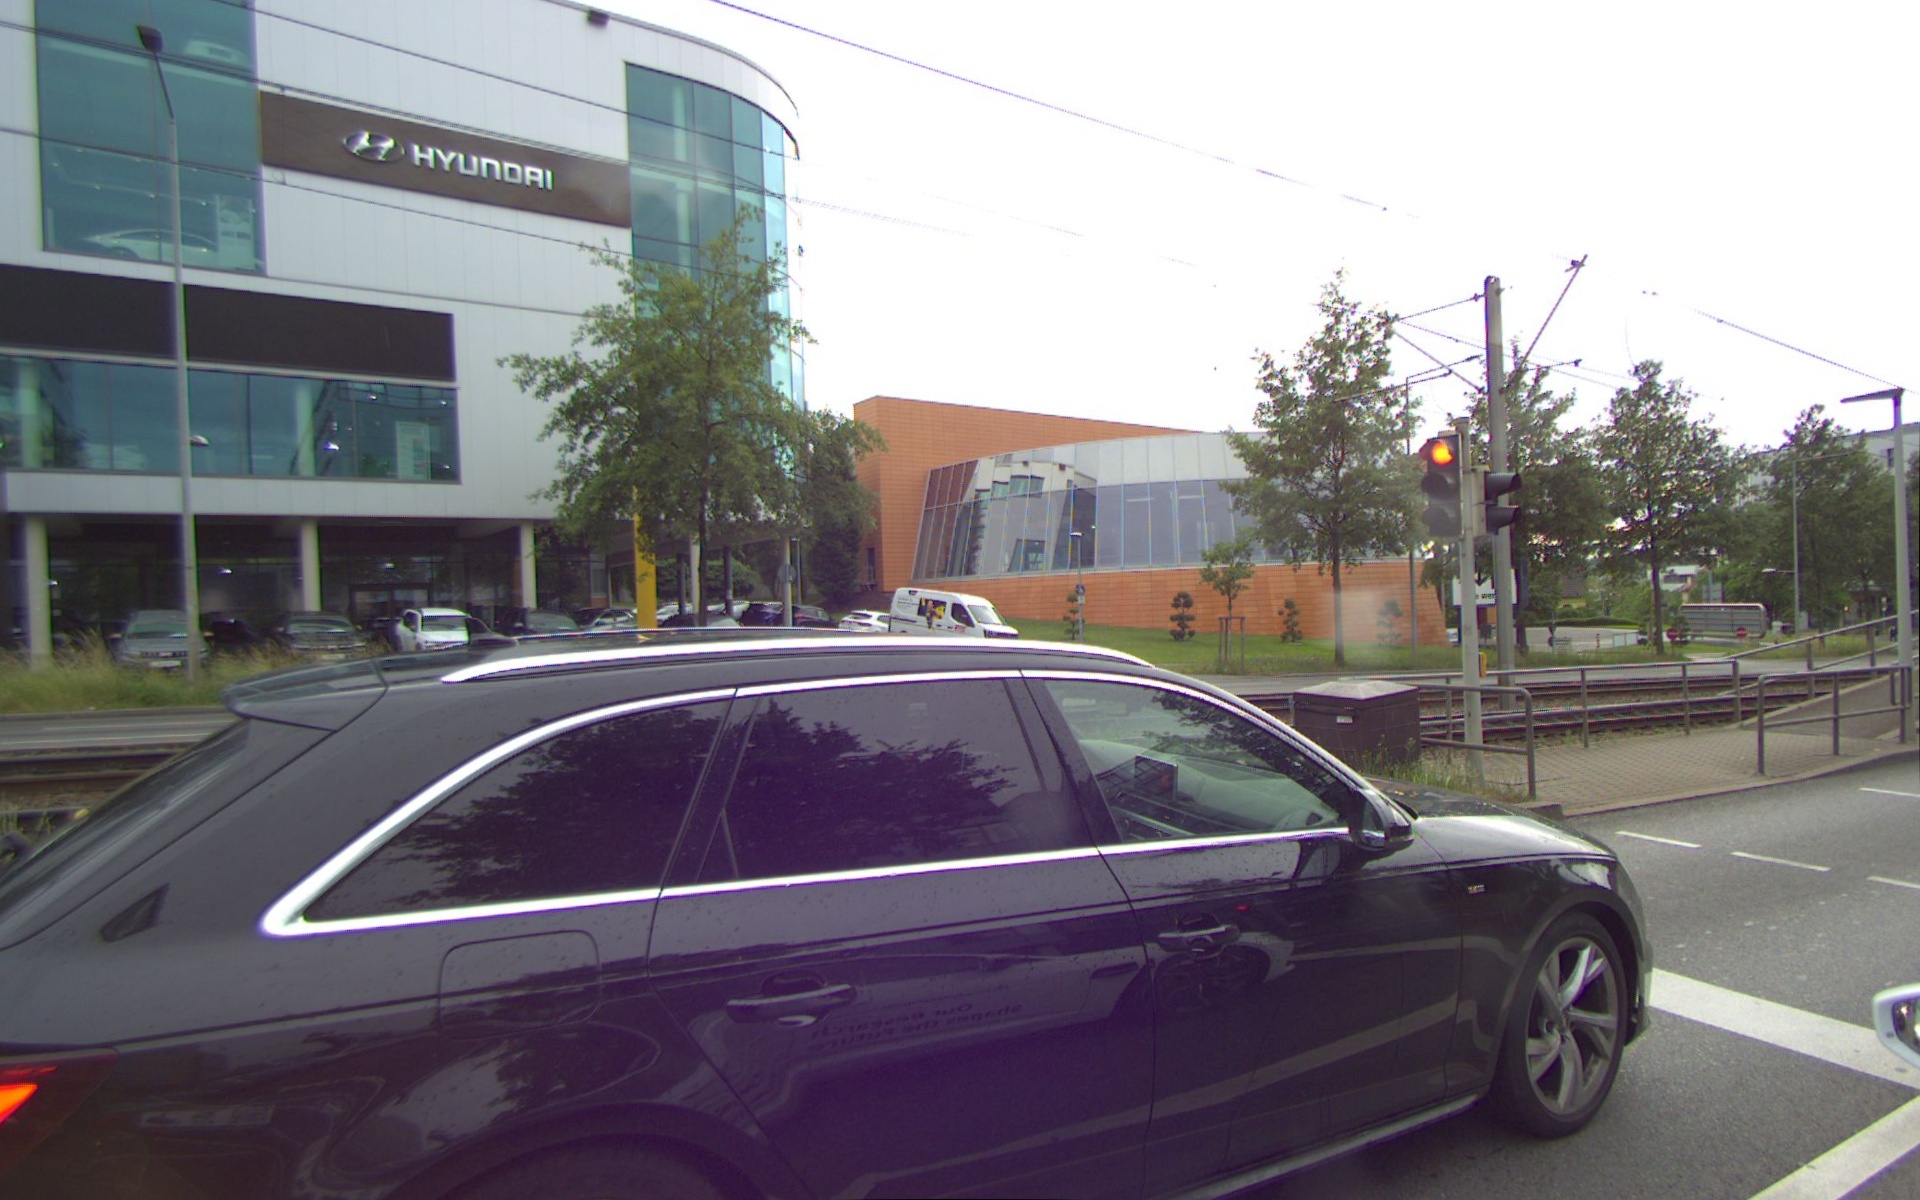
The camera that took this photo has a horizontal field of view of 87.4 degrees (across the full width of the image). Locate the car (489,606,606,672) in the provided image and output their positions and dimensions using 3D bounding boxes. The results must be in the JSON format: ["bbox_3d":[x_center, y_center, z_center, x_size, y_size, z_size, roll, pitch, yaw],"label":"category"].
[{"bbox_3d":[-12.346,1.099,29.903,1.984,1.637,4.324,1,1,-40],"label":"car"}]

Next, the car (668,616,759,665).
[{"bbox_3d":[-7.842,1.237,31.767,1.565,1.409,3.619,0,-1,-36],"label":"car"}]

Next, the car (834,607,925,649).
[{"bbox_3d":[-3.337,1.161,42.169,1.703,1.688,3.734,1,-1,38],"label":"car"}]

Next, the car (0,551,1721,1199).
[{"bbox_3d":[0.095,0.722,2.867,4.461,1.486,1.772,1,-1,-31],"label":"car"}]

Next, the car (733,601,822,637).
[{"bbox_3d":[-8.865,0.909,49.088,1.969,1.653,3.982,0,-1,39],"label":"car"}]

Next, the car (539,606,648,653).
[{"bbox_3d":[-12.830,1.012,35.350,1.691,1.572,3.587,0,-1,20],"label":"car"}]

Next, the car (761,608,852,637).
[{"bbox_3d":[-7.214,1.063,47.523,1.969,1.297,3.982,0,-1,39],"label":"car"}]

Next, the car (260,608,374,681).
[{"bbox_3d":[-16.956,1.106,26.401,1.984,1.571,4.324,1,1,-40],"label":"car"}]

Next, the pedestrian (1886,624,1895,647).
[{"bbox_3d":[79.559,2.997,85.862,0.484,1.946,0.473,1,0,-30],"label":"pedestrian"}]

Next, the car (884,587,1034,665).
[{"bbox_3d":[-0.117,0.914,38.119,5.544,2.616,2.392,3,1,43],"label":"car"}]

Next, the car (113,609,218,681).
[{"bbox_3d":[-19.865,1.060,25.075,1.917,1.479,3.974,1,1,-40],"label":"car"}]

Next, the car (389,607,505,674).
[{"bbox_3d":[-14.498,1.075,28.257,1.984,1.571,4.324,1,1,-40],"label":"car"}]

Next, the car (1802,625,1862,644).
[{"bbox_3d":[67.123,2.656,77.363,1.408,1.405,3.371,0,0,-13],"label":"car"}]
